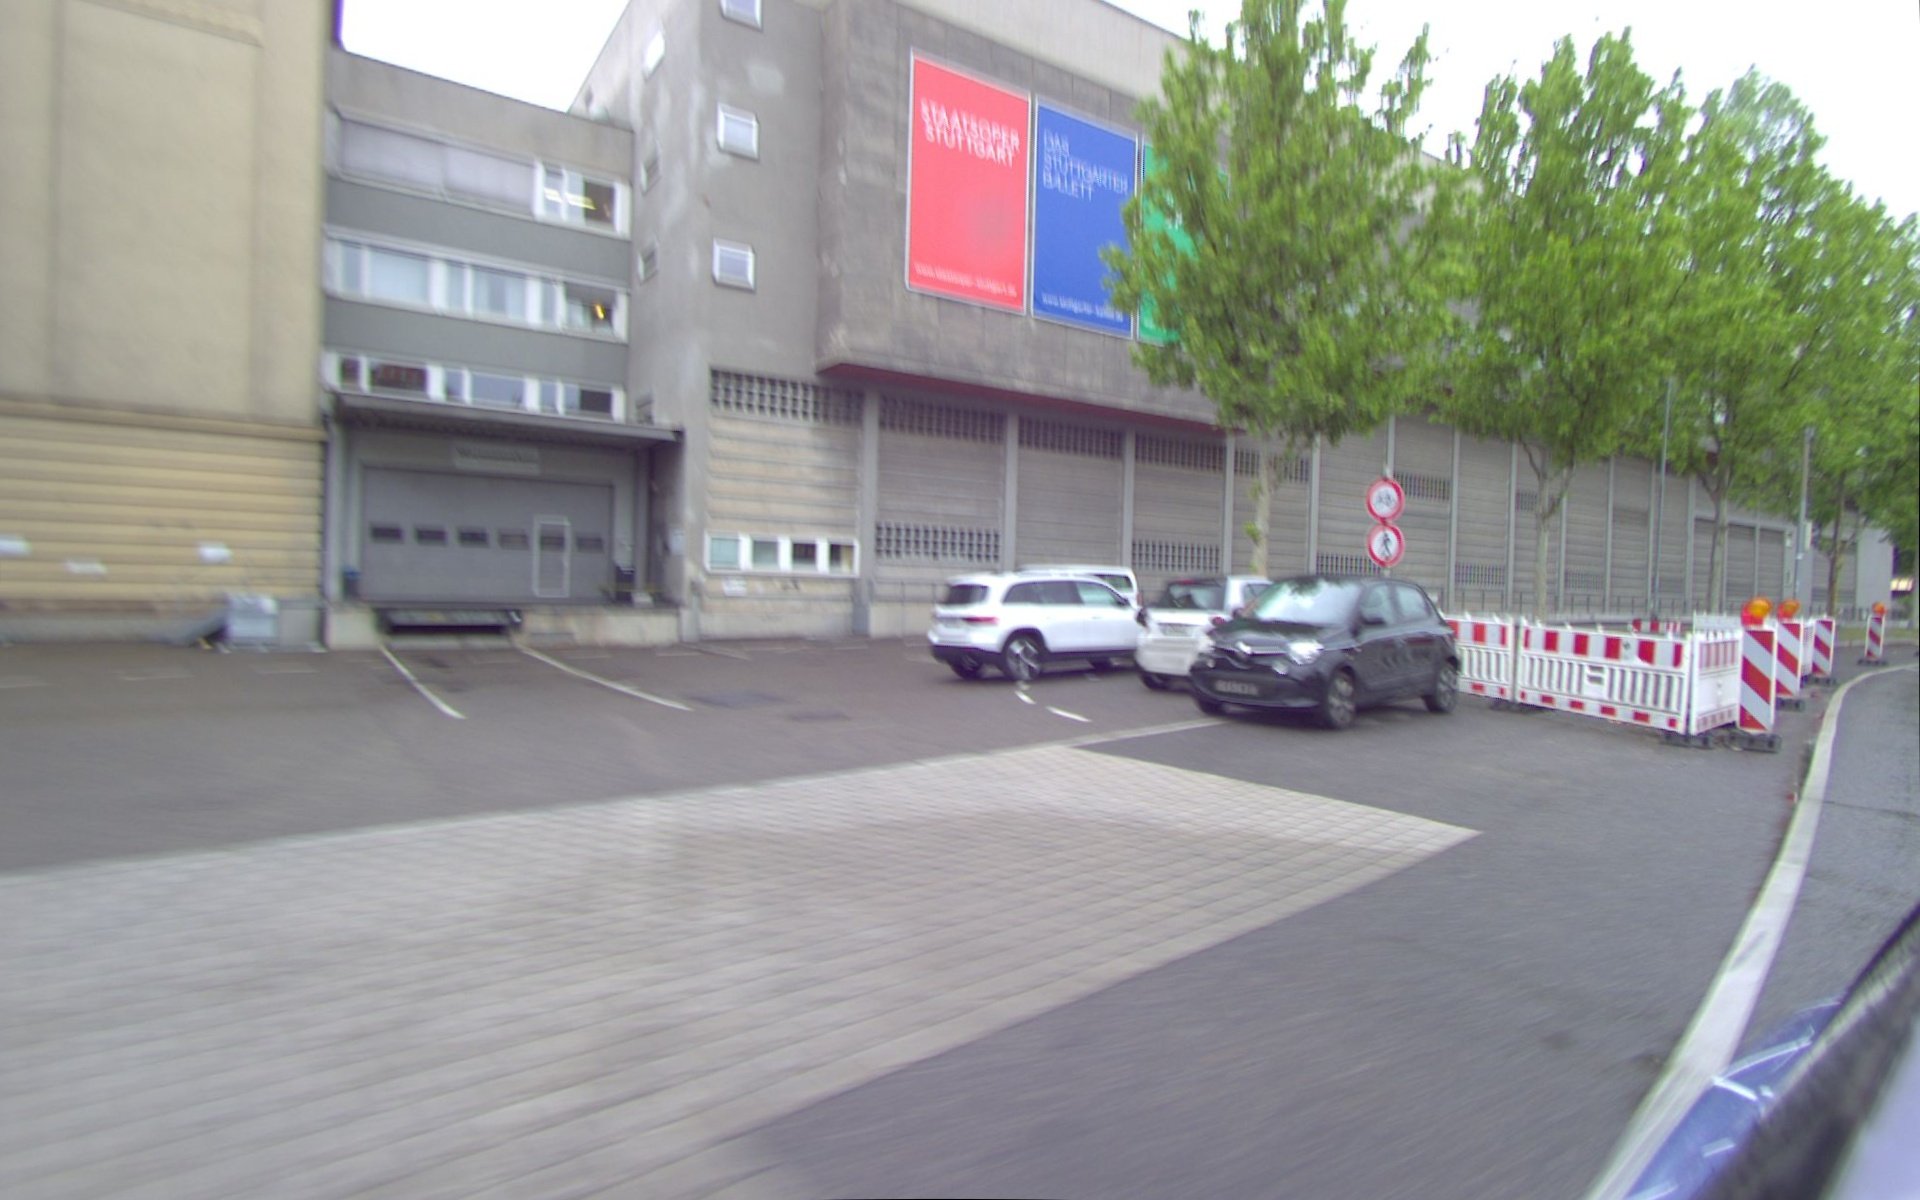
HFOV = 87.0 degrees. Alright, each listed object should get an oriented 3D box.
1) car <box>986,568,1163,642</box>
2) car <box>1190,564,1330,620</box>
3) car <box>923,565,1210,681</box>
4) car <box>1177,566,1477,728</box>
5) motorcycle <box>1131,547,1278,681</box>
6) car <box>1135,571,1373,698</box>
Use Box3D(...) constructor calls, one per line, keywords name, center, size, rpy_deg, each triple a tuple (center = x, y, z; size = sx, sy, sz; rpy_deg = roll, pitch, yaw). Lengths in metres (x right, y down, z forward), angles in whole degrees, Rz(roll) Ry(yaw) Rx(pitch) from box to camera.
Box3D(name="car", center=(3.146, 0.111, 27.217), size=(4.793, 1.810, 1.778), rpy_deg=(1, 2, -37))
Box3D(name="car", center=(9.190, -0.281, 31.245), size=(1.745, 1.599, 3.851), rpy_deg=(1, 2, -35))
Box3D(name="car", center=(1.809, 0.341, 16.898), size=(4.402, 1.705, 1.963), rpy_deg=(-1, -2, -29))
Box3D(name="car", center=(4.169, 0.418, 11.278), size=(3.559, 1.513, 1.689), rpy_deg=(0, 1, -42))
Box3D(name="motorcycle", center=(3.813, 0.213, 15.651), size=(2.541, 1.928, 0.750), rpy_deg=(1, -1, -36))
Box3D(name="car", center=(4.082, 0.415, 14.004), size=(2.962, 1.556, 1.588), rpy_deg=(0, 2, -33))
